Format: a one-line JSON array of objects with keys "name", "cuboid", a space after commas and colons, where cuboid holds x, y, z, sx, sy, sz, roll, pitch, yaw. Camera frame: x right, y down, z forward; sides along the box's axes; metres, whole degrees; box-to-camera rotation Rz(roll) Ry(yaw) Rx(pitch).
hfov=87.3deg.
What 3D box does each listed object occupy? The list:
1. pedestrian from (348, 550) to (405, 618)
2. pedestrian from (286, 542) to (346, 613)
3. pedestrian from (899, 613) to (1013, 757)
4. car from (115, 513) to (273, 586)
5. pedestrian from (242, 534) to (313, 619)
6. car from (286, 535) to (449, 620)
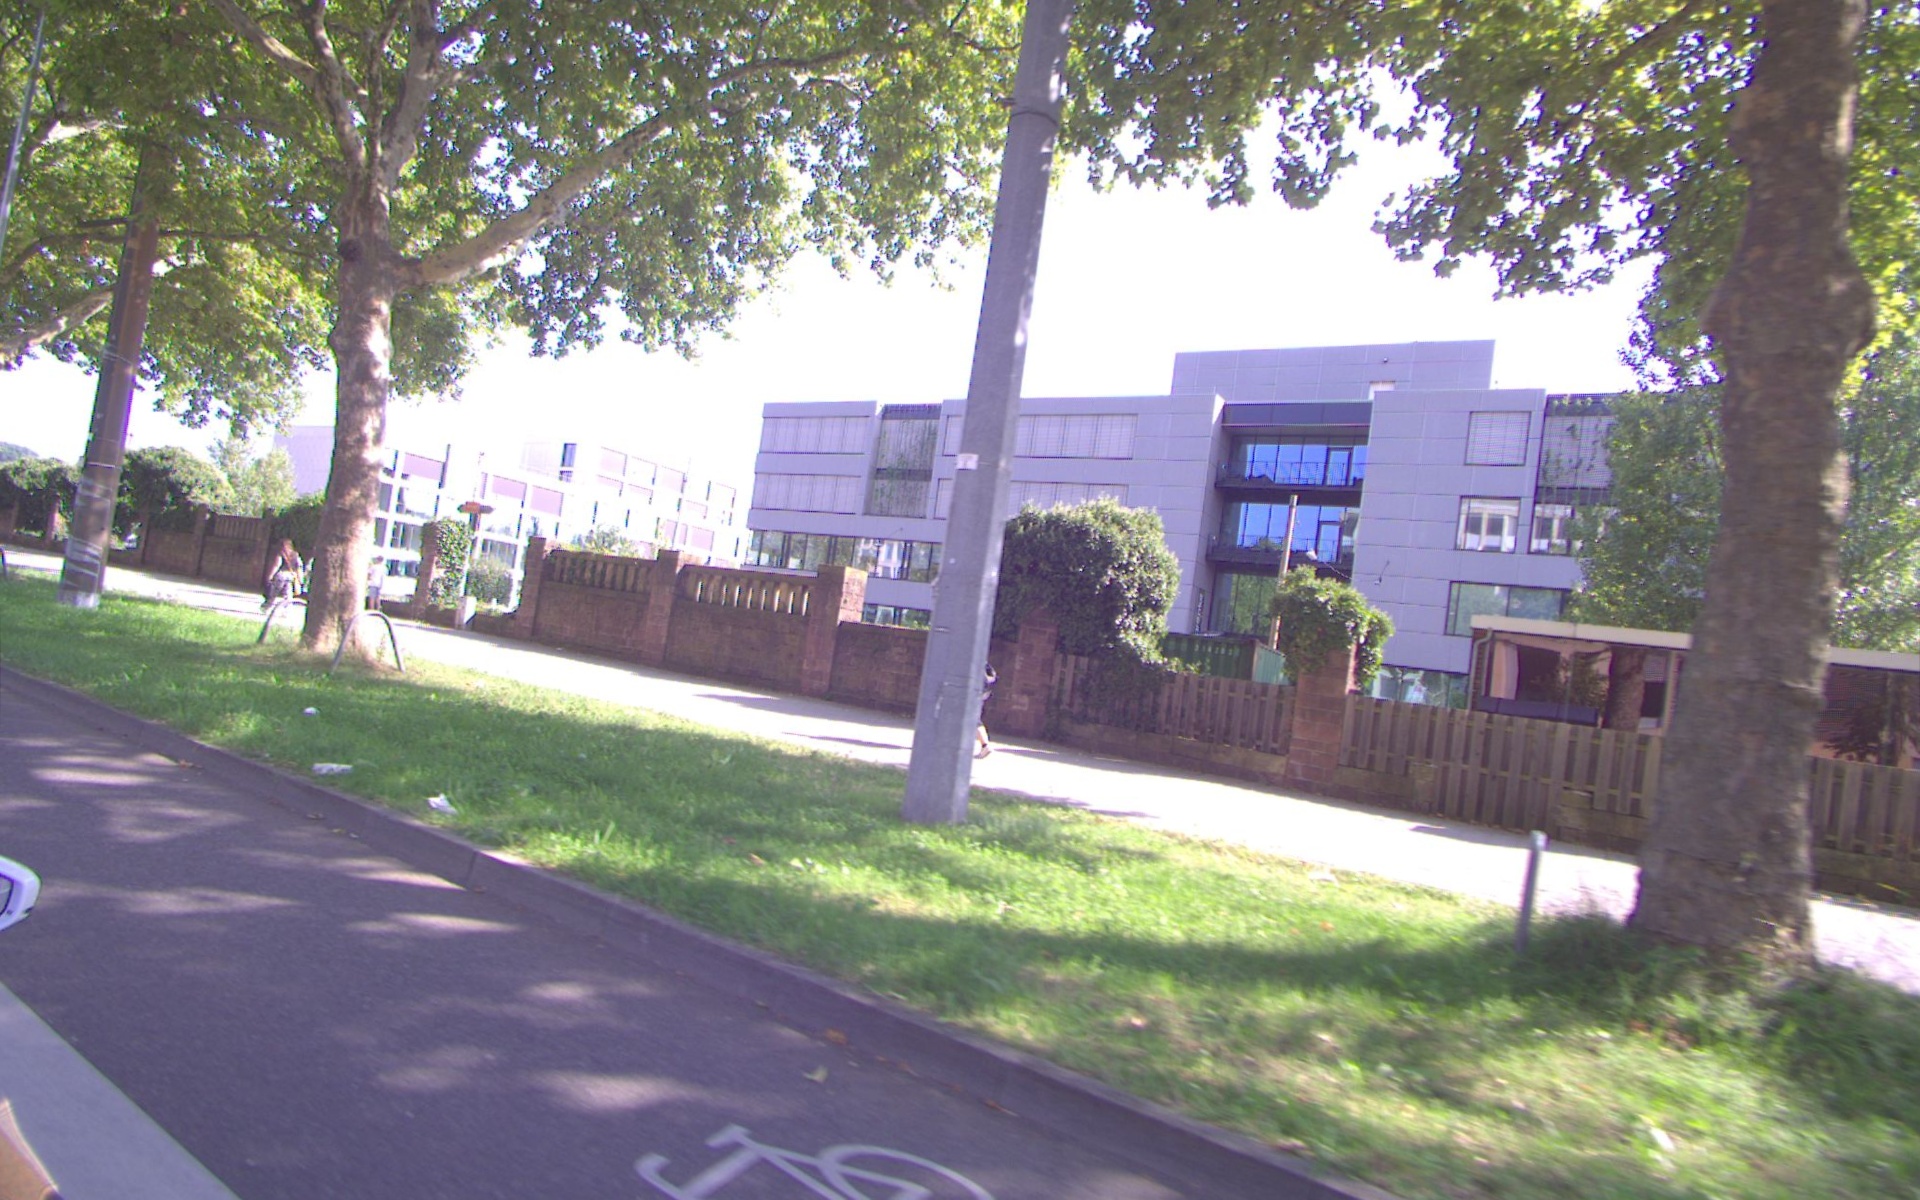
[{"name": "pedestrian", "cuboid": [-15.368, -0.424, 26.478, 0.932, 1.623, 0.807, 6, -1, 33]}, {"name": "pedestrian", "cuboid": [-16.238, -0.562, 25.386, 0.932, 1.623, 0.807, 6, -1, 33]}, {"name": "pedestrian", "cuboid": [-0.045, 1.101, 13.098, 0.995, 1.706, 0.820, 7, -1, 32]}, {"name": "car", "cuboid": [-34.740, -2.260, 45.798, 2.097, 2.395, 5.139, 6, -3, 35]}, {"name": "pedestrian", "cuboid": [-14.554, -0.494, 21.454, 0.932, 1.655, 0.807, 6, -1, 33]}, {"name": "car", "cuboid": [-22.338, -0.802, 38.122, 2.022, 2.342, 4.676, 6, -5, 32]}]
